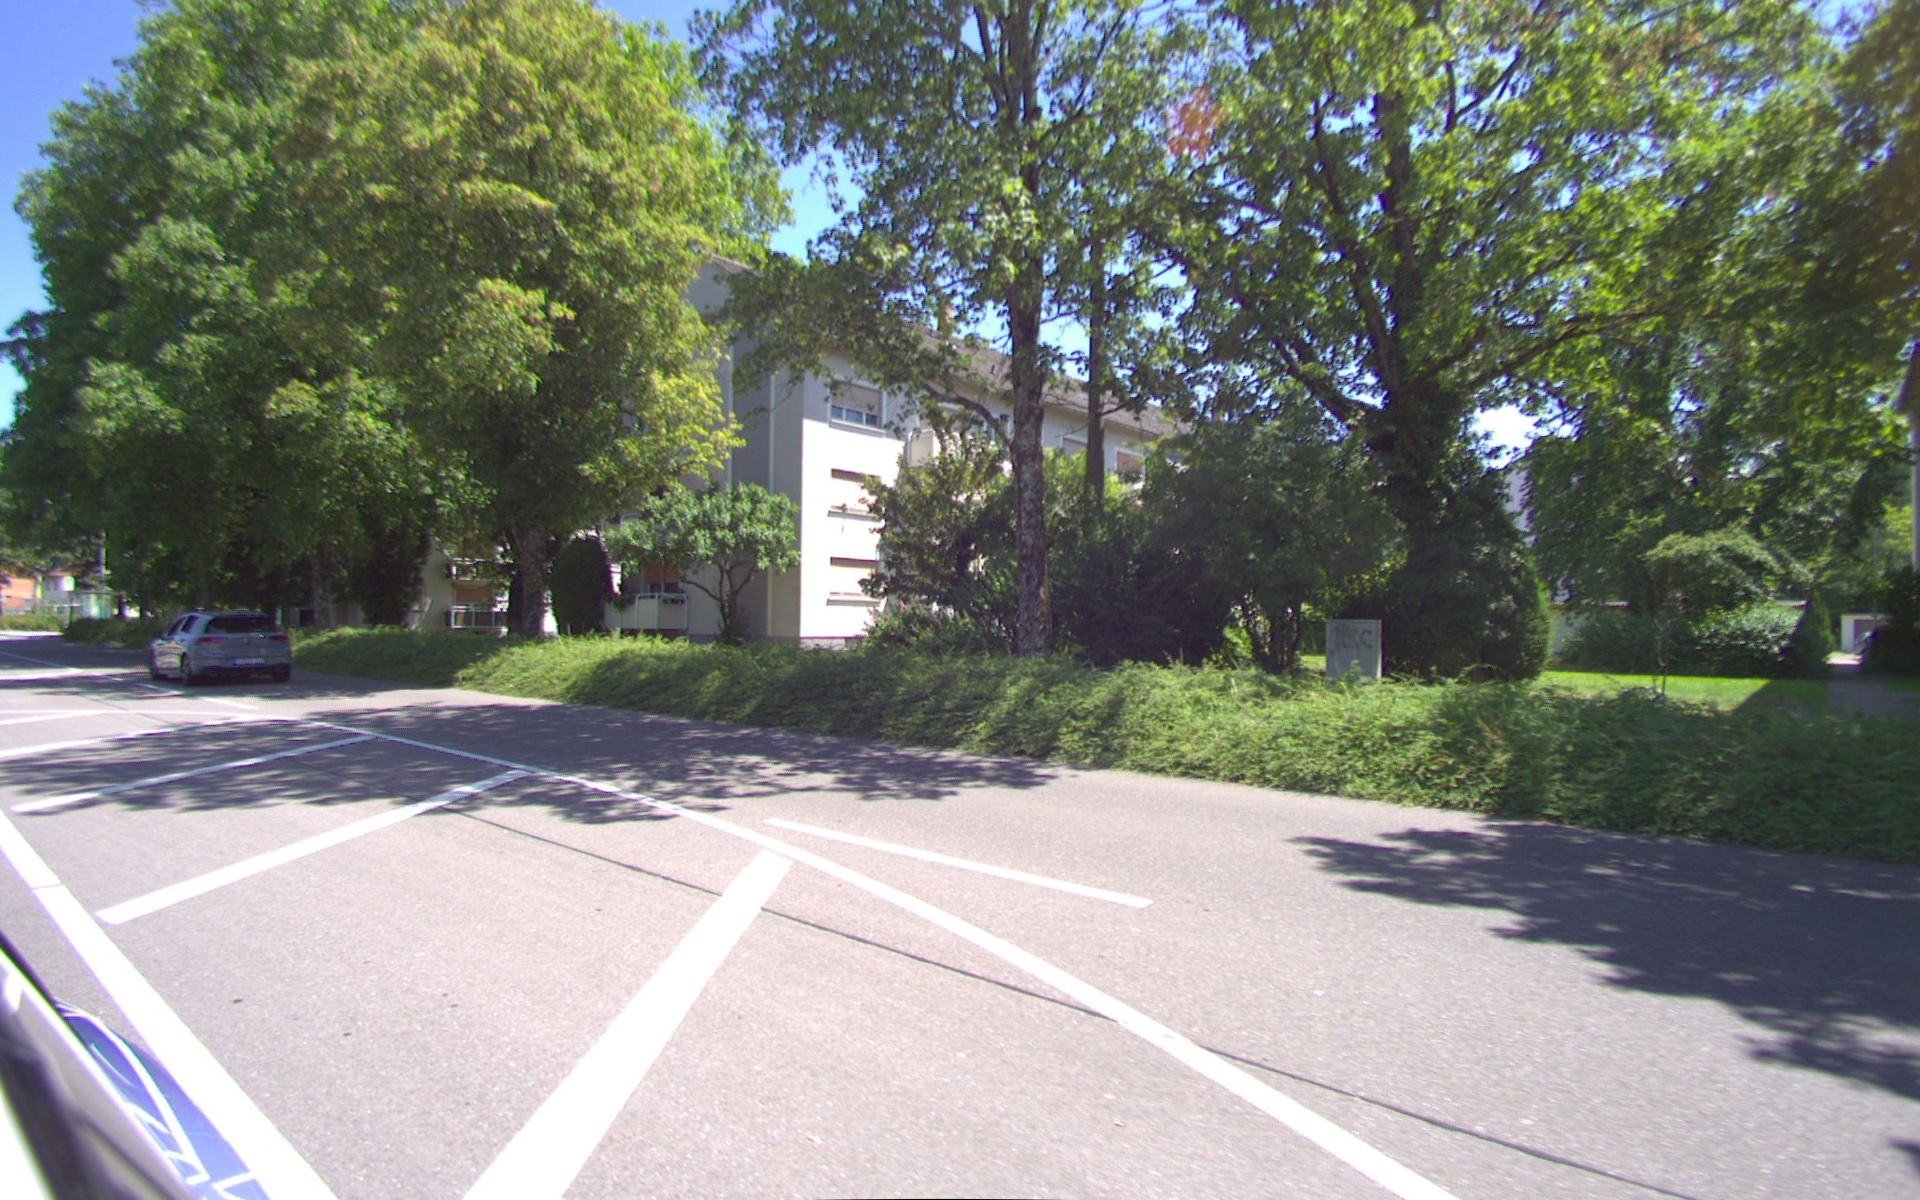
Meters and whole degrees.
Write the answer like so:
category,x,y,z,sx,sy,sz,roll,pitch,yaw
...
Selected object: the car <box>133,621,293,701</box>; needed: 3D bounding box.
category,x,y,z,sx,sy,sz,roll,pitch,yaw
car,-15.347,1.171,20.720,4.144,1.438,1.704,-1,-1,40
